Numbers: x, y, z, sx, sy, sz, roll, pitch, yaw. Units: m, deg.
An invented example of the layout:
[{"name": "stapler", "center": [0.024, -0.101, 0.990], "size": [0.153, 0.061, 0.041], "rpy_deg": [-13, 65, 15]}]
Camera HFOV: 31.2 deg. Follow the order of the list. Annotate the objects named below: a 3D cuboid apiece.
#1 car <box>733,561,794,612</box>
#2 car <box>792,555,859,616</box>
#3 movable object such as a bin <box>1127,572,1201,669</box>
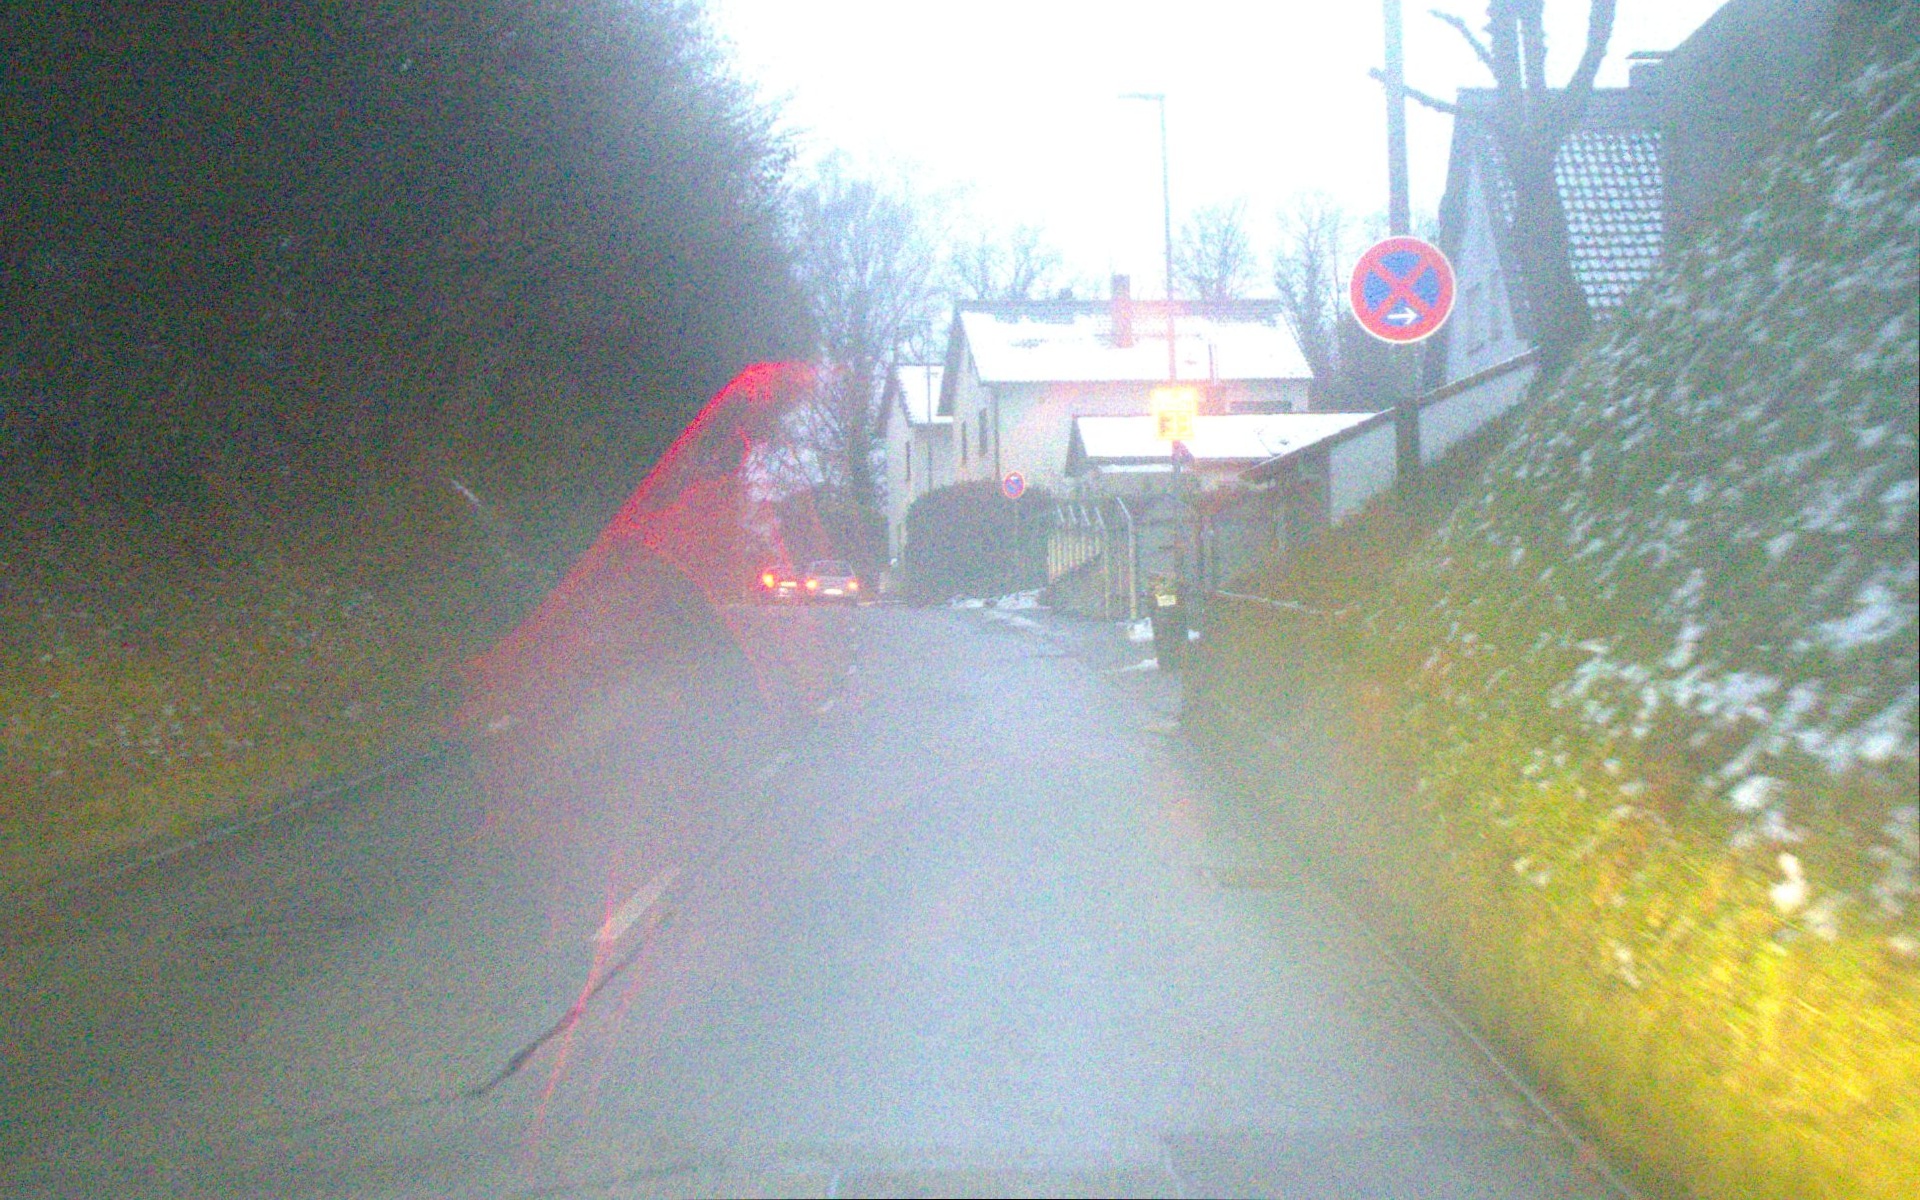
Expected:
[{"name": "car", "center": [-6.748, -0.459, 118.311], "size": [1.805, 1.612, 4.000], "rpy_deg": [2, -1, 0]}, {"name": "car", "center": [-4.095, -0.418, 105.219], "size": [1.805, 1.732, 4.000], "rpy_deg": [2, -1, 0]}, {"name": "movable object such as a bin", "center": [2.195, 0.223, 36.950], "size": [0.685, 1.000, 0.856], "rpy_deg": [-3, -2, 8]}]
